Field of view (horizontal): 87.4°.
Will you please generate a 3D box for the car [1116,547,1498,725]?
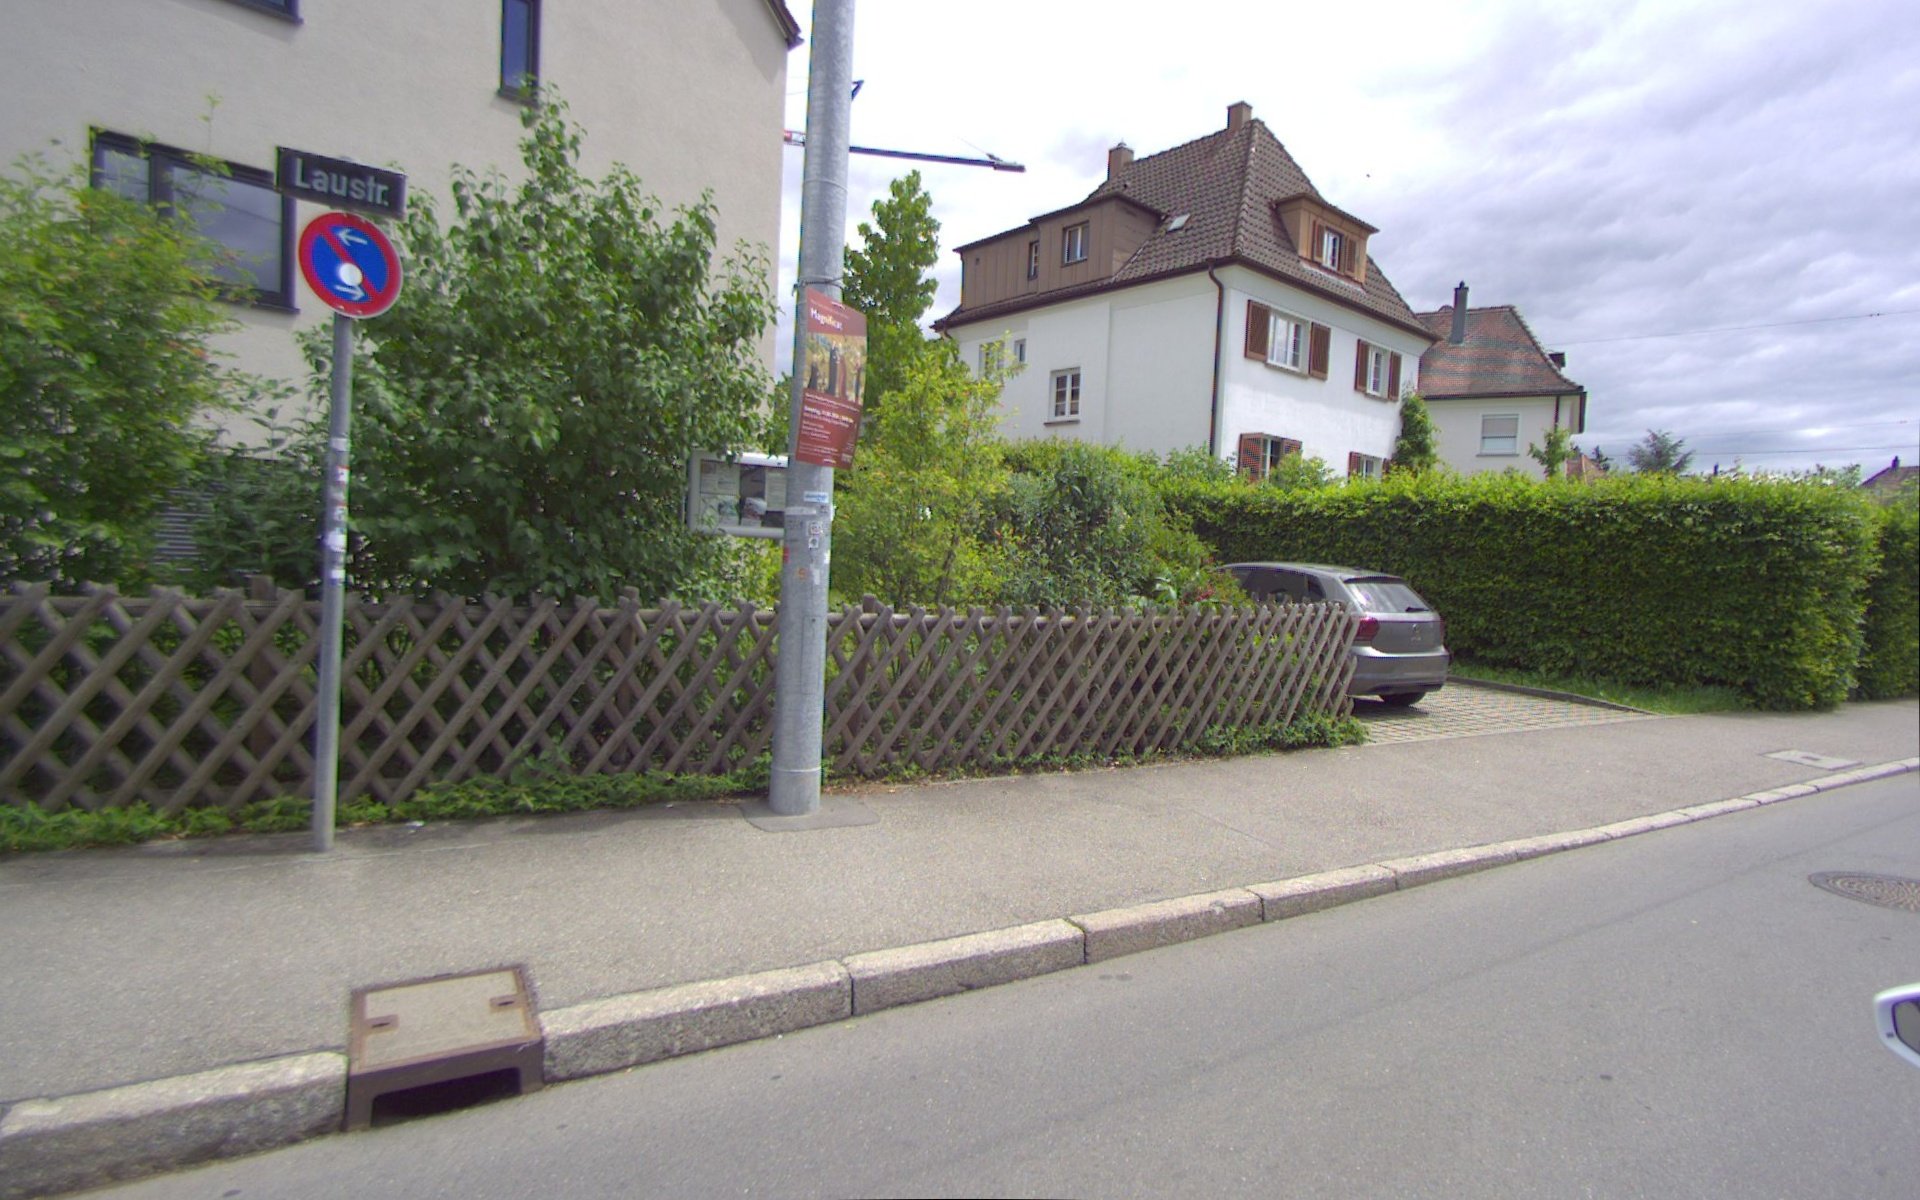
[{"bbox_3d":[3.651,0.278,11.188,1.797,1.453,3.652,2,4,-31],"label":"car"}]
